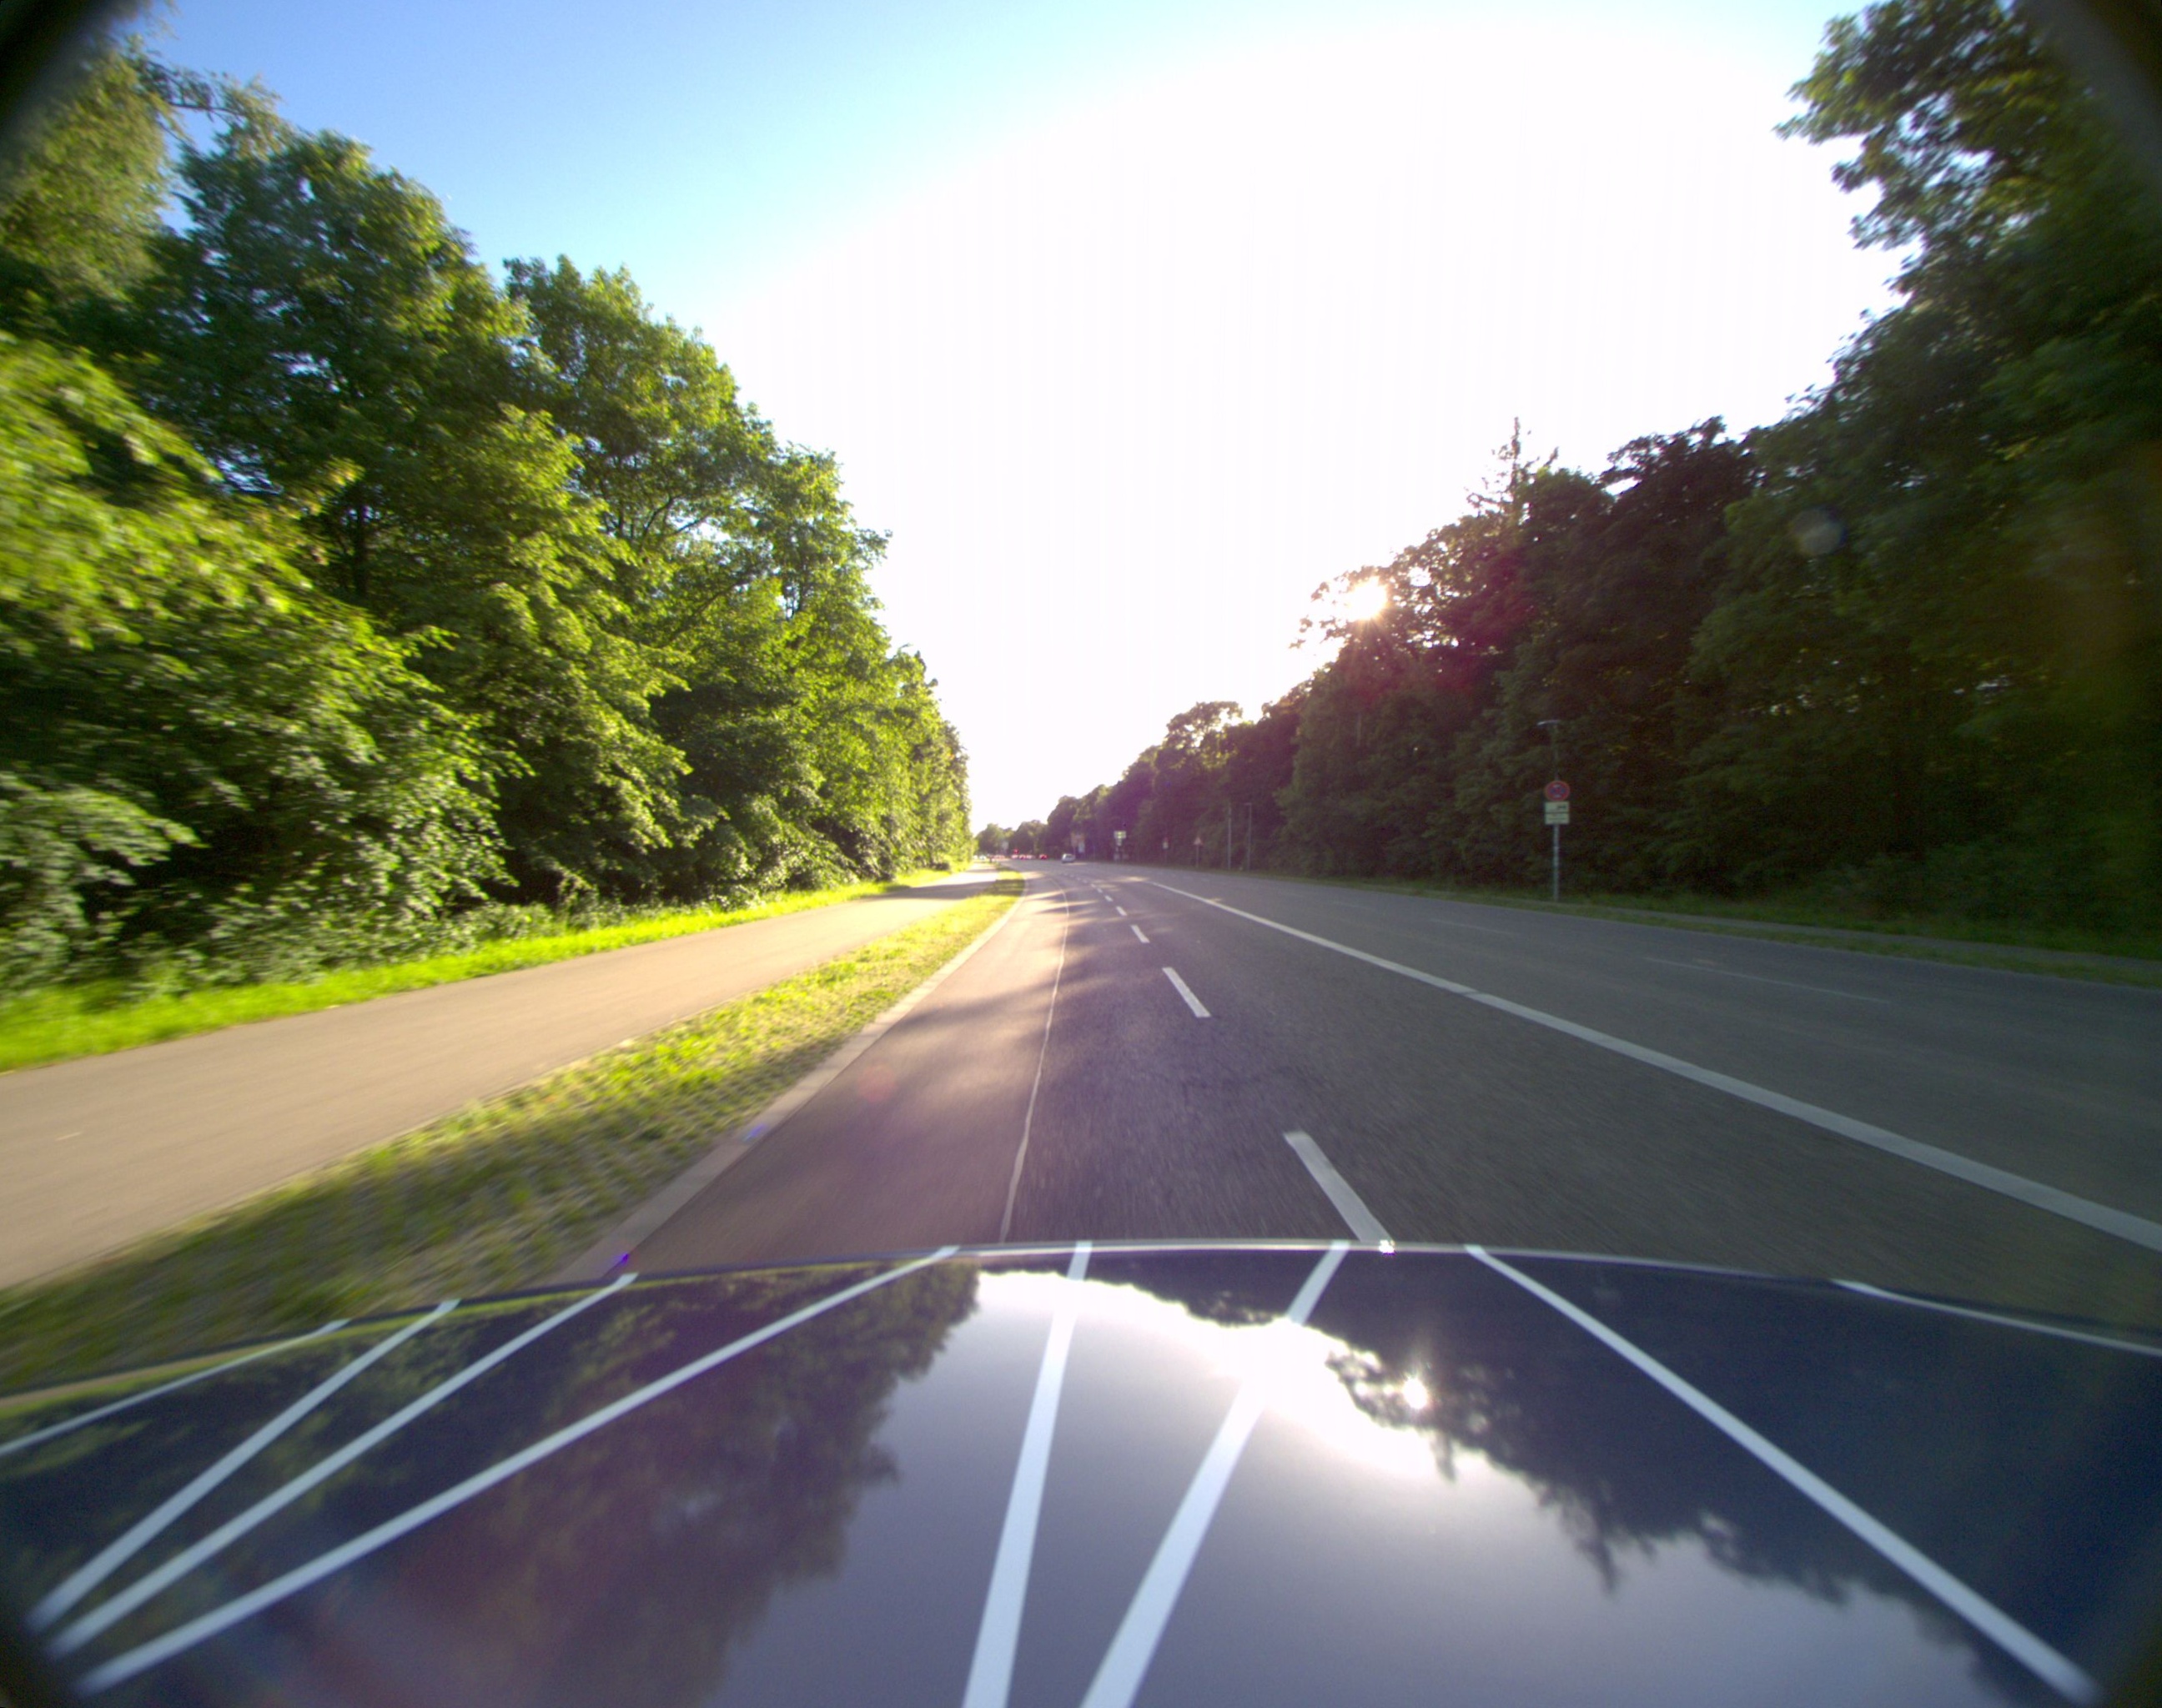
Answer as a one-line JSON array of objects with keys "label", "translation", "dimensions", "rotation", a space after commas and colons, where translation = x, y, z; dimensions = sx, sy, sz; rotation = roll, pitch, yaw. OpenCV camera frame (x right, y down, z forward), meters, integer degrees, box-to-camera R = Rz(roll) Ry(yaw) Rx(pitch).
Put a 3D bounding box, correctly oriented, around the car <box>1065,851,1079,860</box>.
[{"label": "car", "translation": [-1.661, 0.250, 135.600], "dimensions": [1.745, 1.449, 3.995], "rotation": [-3, 0, -12]}]
